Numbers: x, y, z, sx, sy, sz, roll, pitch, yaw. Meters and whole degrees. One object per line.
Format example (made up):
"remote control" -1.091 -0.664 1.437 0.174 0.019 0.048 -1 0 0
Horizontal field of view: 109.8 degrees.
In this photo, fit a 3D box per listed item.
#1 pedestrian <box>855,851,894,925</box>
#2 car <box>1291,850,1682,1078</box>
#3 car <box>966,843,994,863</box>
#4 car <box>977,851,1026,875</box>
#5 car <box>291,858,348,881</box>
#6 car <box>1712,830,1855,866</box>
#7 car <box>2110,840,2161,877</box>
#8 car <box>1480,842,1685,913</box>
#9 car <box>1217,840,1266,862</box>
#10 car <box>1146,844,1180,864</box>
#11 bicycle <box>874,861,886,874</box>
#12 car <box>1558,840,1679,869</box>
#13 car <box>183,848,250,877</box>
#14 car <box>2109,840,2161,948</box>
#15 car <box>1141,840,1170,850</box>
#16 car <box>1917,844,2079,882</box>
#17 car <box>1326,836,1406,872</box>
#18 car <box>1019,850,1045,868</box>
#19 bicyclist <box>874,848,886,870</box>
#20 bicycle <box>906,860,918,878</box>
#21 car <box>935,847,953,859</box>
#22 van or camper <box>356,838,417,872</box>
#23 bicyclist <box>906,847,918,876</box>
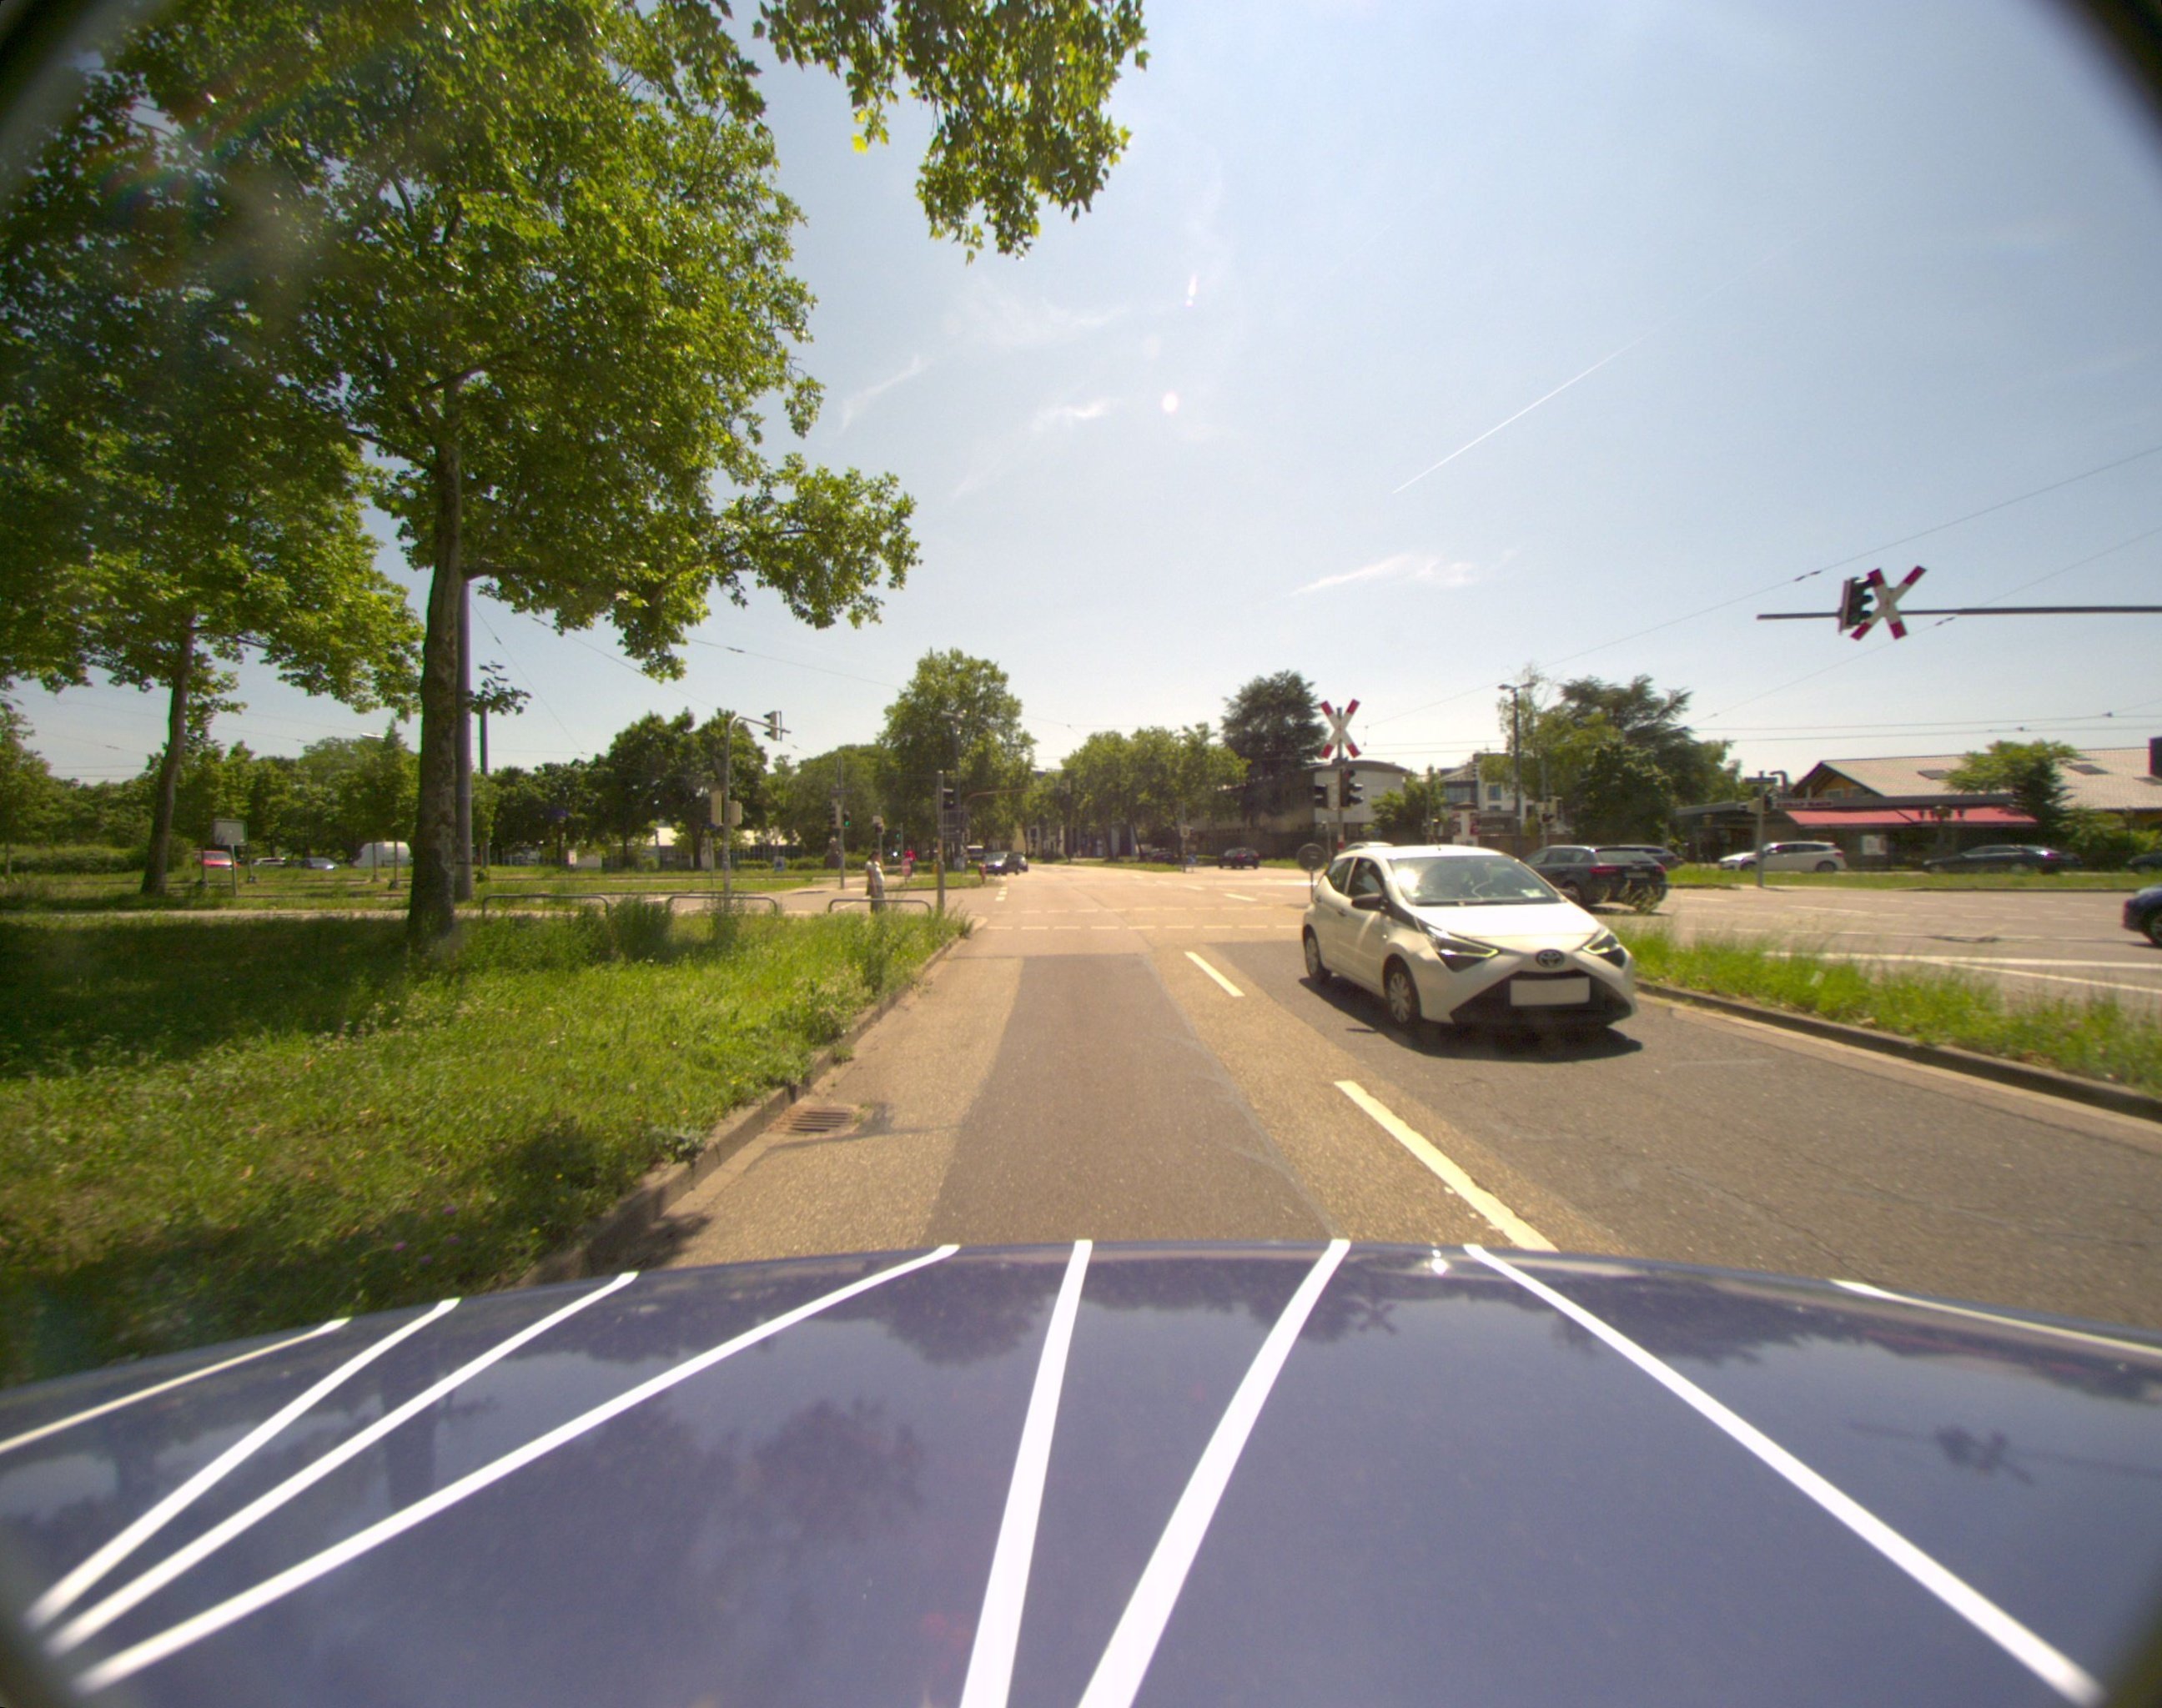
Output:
"pedestrian" -4.212 0.675 15.523 0.554 1.475 0.630 -1 1 4
"car" 3.236 0.734 6.940 1.622 1.437 3.651 -2 1 1
"car" -13.627 -0.189 102.276 2.921 2.639 6.357 -1 1 -14
"car" -4.888 0.534 47.338 1.652 1.454 3.869 -1 1 16
"car" -59.742 1.227 59.616 4.060 1.708 1.960 0 1 27
"car" 32.648 -0.271 35.509 4.450 1.595 2.220 0 1 24
"car" 49.380 0.204 33.631 1.784 1.641 4.190 -1 1 -8
"car" 11.082 0.437 17.207 1.741 1.387 4.177 1 1 -2
"car" 11.277 -0.241 53.767 1.955 1.432 4.742 -1 1 -7
"car" 6.799 -0.016 63.456 1.915 1.530 4.295 -1 1 -7
"bicycle" -12.447 0.805 47.029 0.466 0.760 1.665 0 1 -24
"car" 27.019 0.030 38.357 4.660 1.372 1.890 -1 1 20
"car" -63.356 0.611 55.673 4.651 1.991 2.078 0 1 27
"car" 15.309 0.555 8.714 1.725 1.447 3.867 0 1 -2
"car" 12.482 -1.488 127.908 4.447 1.669 1.914 -1 1 -19
"car" 42.682 0.373 35.547 1.784 1.641 4.565 0 0 -9
"car" 13.362 -0.014 35.891 1.793 1.605 4.401 -1 0 -6
"car" -3.769 0.355 58.958 1.791 1.325 3.742 -1 1 0
"bicyclist" -12.485 0.317 47.121 0.601 1.331 0.665 -1 1 -24
"bicycle" -9.178 0.822 41.290 0.589 0.890 1.809 -1 1 -11
"car" -22.755 -0.192 125.830 2.002 1.827 3.991 -2 1 -24
"van or camper" -58.976 0.075 64.507 5.116 2.735 2.207 0 1 28
"bicyclist" -9.186 0.400 41.287 0.579 1.547 0.673 -1 1 -11
